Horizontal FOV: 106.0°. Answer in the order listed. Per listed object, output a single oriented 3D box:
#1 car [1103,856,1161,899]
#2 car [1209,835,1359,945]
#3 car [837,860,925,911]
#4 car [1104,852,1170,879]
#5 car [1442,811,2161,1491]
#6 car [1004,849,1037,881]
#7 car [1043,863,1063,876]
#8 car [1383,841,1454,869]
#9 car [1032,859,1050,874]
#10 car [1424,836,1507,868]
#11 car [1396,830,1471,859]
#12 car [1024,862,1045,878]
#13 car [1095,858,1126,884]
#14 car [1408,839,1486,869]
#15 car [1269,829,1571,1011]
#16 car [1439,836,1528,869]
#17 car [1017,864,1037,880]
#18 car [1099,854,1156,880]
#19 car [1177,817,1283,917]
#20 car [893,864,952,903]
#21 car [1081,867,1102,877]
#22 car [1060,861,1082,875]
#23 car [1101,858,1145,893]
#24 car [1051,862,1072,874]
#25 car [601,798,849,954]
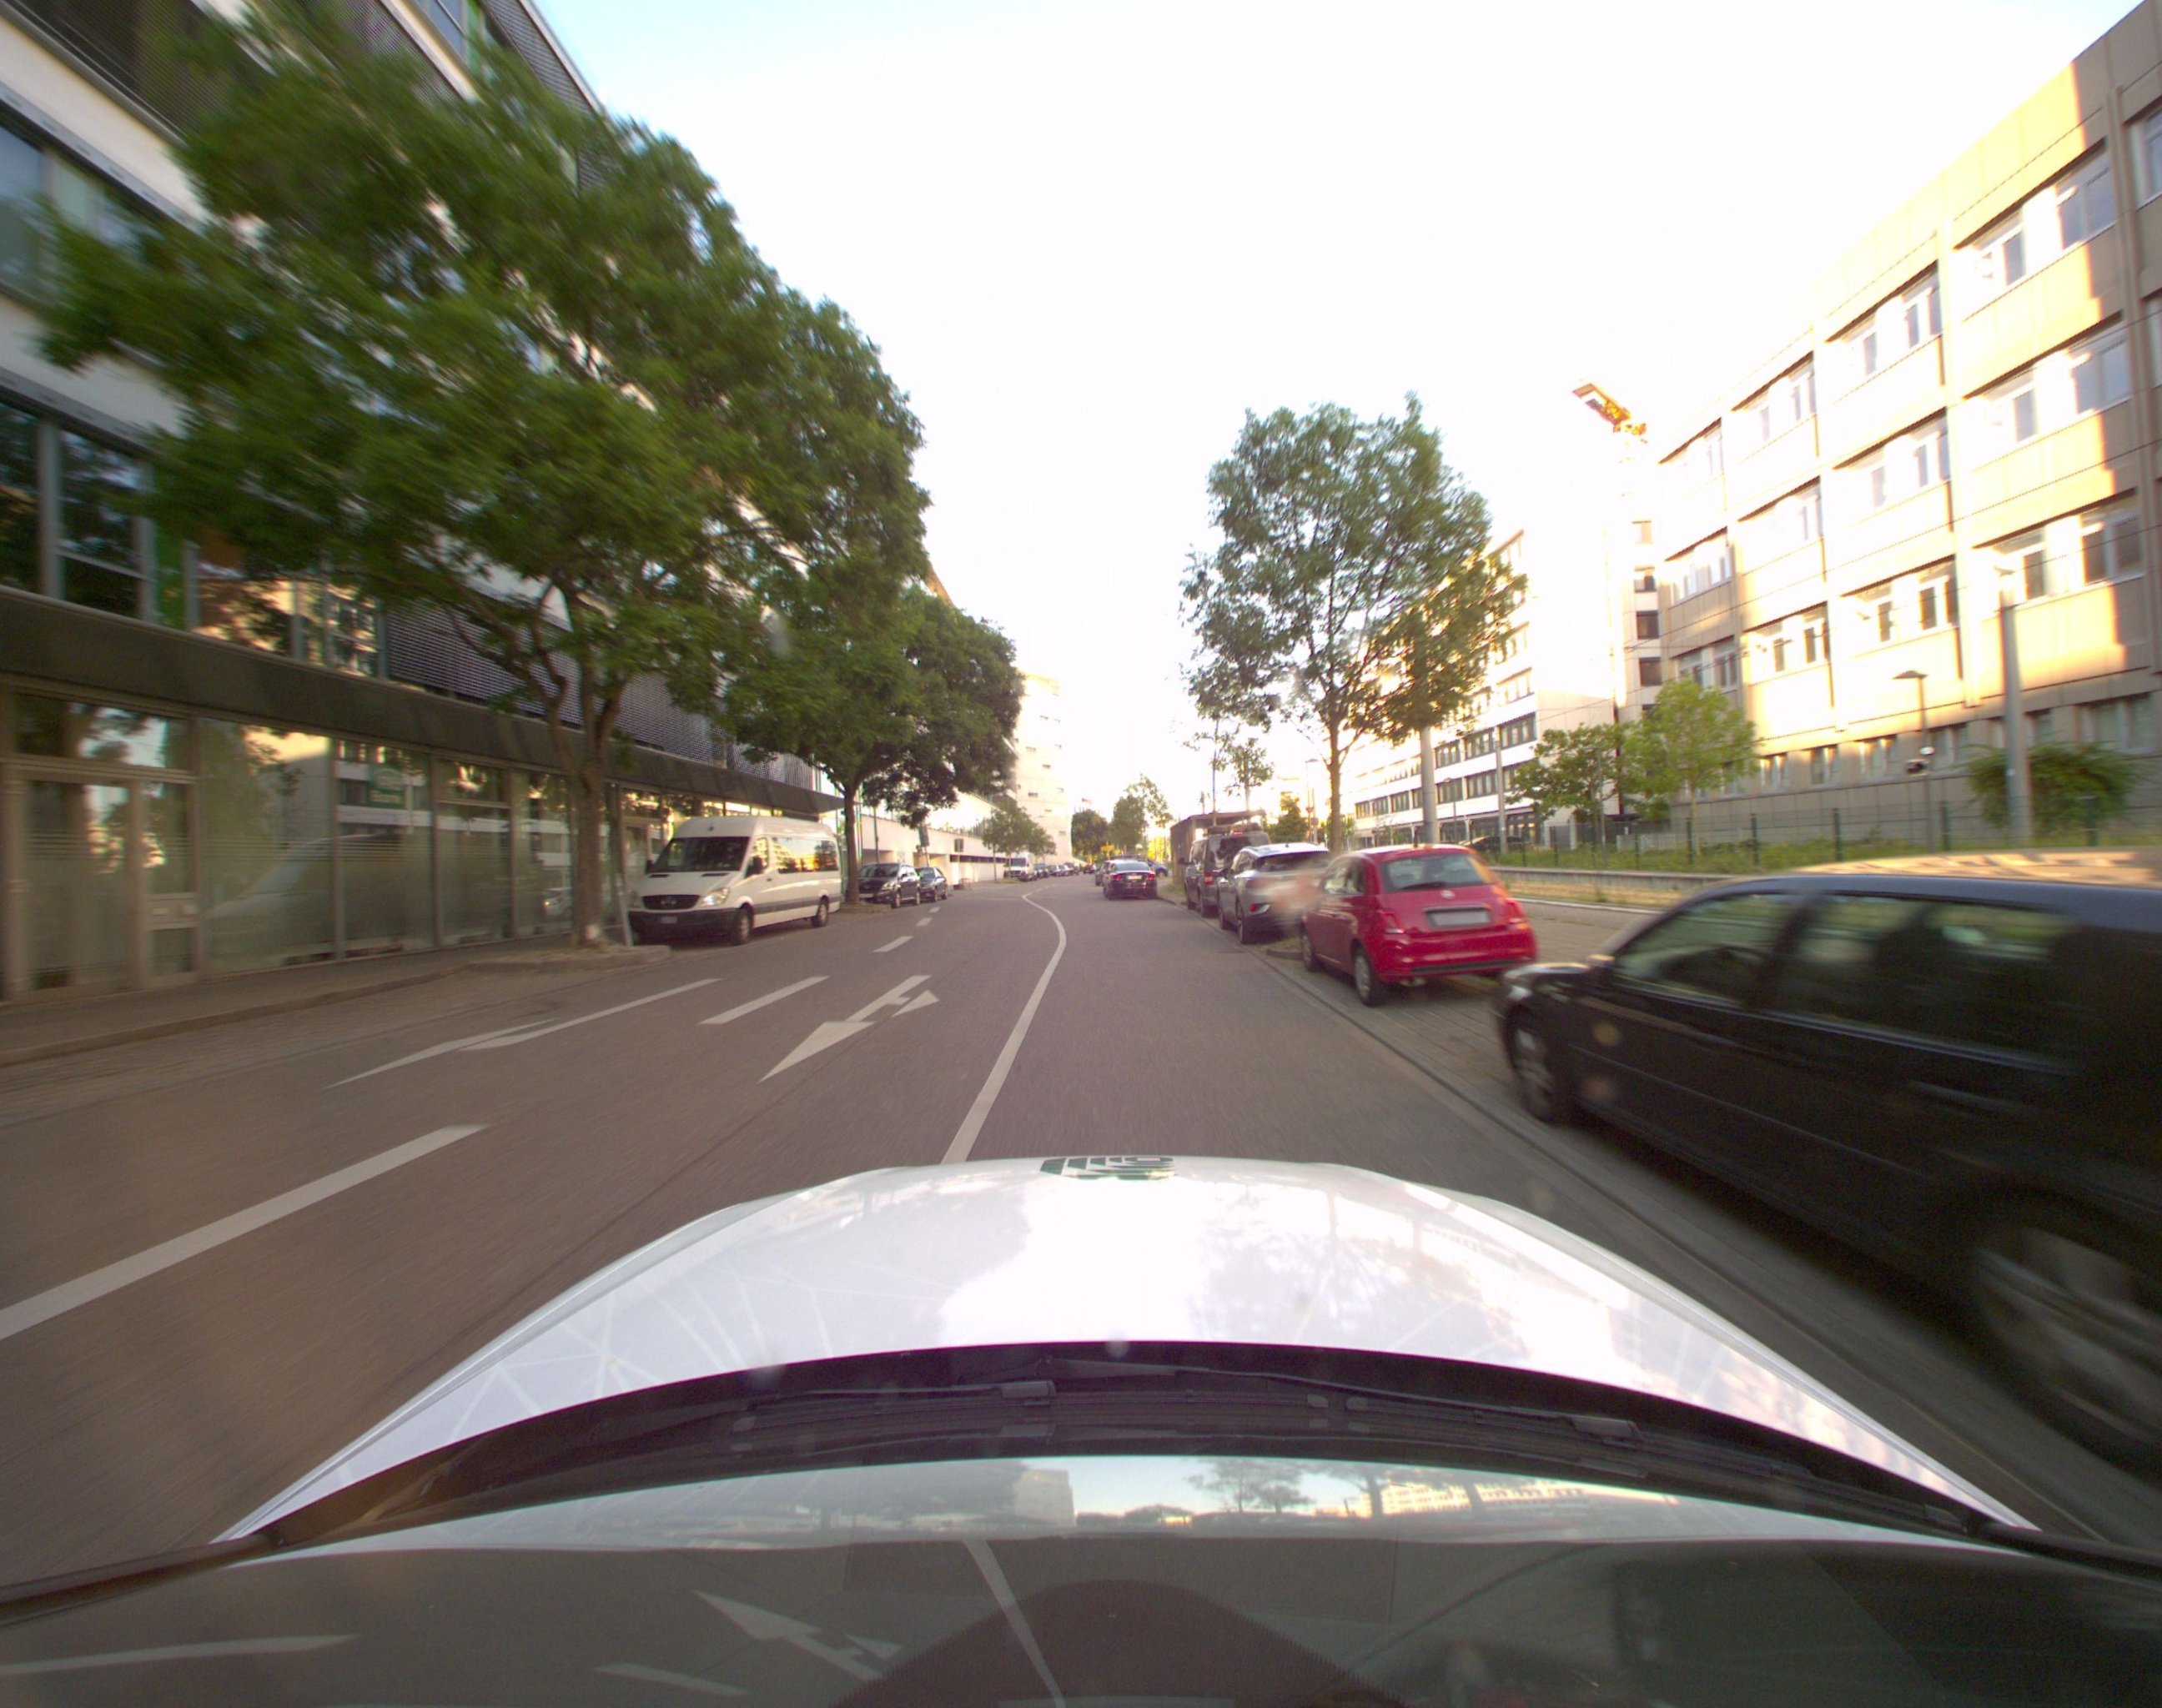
[{"bbox_3d":[1.869,0.857,31.058,1.782,1.452,4.513,-2,0,-1],"label":"car"},{"bbox_3d":[3.473,0.573,14.761,1.700,1.580,4.482,-4,-1,3],"label":"car"},{"bbox_3d":[-6.889,1.036,28.499,1.837,1.571,4.269,-2,0,2],"label":"car"},{"bbox_3d":[3.781,0.787,54.748,4.016,1.520,1.907,-3,-2,-34],"label":"car"},{"bbox_3d":[3.205,0.631,3.273,1.701,1.451,4.000,-4,-1,1],"label":"car"},{"bbox_3d":[-5.197,0.933,70.522,1.950,2.617,6.898,-1,0,3],"label":"car"},{"bbox_3d":[-3.436,1.922,100.129,1.712,1.457,4.281,-1,0,8],"label":"car"},{"bbox_3d":[22.823,0.067,55.199,3.974,1.513,1.824,-4,-1,0],"label":"car"},{"bbox_3d":[-4.469,1.435,91.979,1.749,1.653,3.949,-1,0,1],"label":"car"},{"bbox_3d":[22.457,-0.097,47.632,3.972,1.487,1.676,-5,-1,2],"label":"car"},{"bbox_3d":[22.634,-0.582,52.406,3.972,1.487,1.676,-5,-1,2],"label":"car"},{"bbox_3d":[-4.838,1.668,85.584,1.749,1.561,4.045,-1,0,2],"label":"car"},{"bbox_3d":[1.716,1.040,48.713,1.726,1.466,3.999,-1,-1,0],"label":"car"},{"bbox_3d":[22.439,0.017,50.002,3.972,1.487,1.676,-5,-1,2],"label":"car"},{"bbox_3d":[3.503,0.609,9.330,1.701,1.493,4.131,-4,-1,1],"label":"car"},{"bbox_3d":[22.308,-0.068,45.228,3.972,1.487,1.676,-5,-1,2],"label":"car"},{"bbox_3d":[-5.050,1.667,76.715,1.752,1.439,3.897,-1,0,-3],"label":"car"},{"bbox_3d":[3.954,1.068,69.022,4.619,2.035,1.852,-1,-1,-32],"label":"car"},{"bbox_3d":[3.680,0.326,21.018,1.798,2.176,4.736,-4,-1,1],"label":"car"},{"bbox_3d":[-6.544,1.181,34.043,1.711,1.452,4.395,-2,0,-2],"label":"car"},{"bbox_3d":[1.569,2.642,121.198,1.928,1.382,4.419,-1,0,18],"label":"car"},{"bbox_3d":[-1.322,1.863,110.892,1.743,1.798,4.483,-1,0,17],"label":"car"},{"bbox_3d":[1.843,0.941,36.968,1.671,1.452,4.185,-2,-1,-1],"label":"car"},{"bbox_3d":[-2.476,1.856,105.702,1.711,1.457,4.709,-1,0,12],"label":"car"},{"bbox_3d":[-7.306,0.410,17.891,2.092,2.664,6.954,-2,0,2],"label":"car"}]
